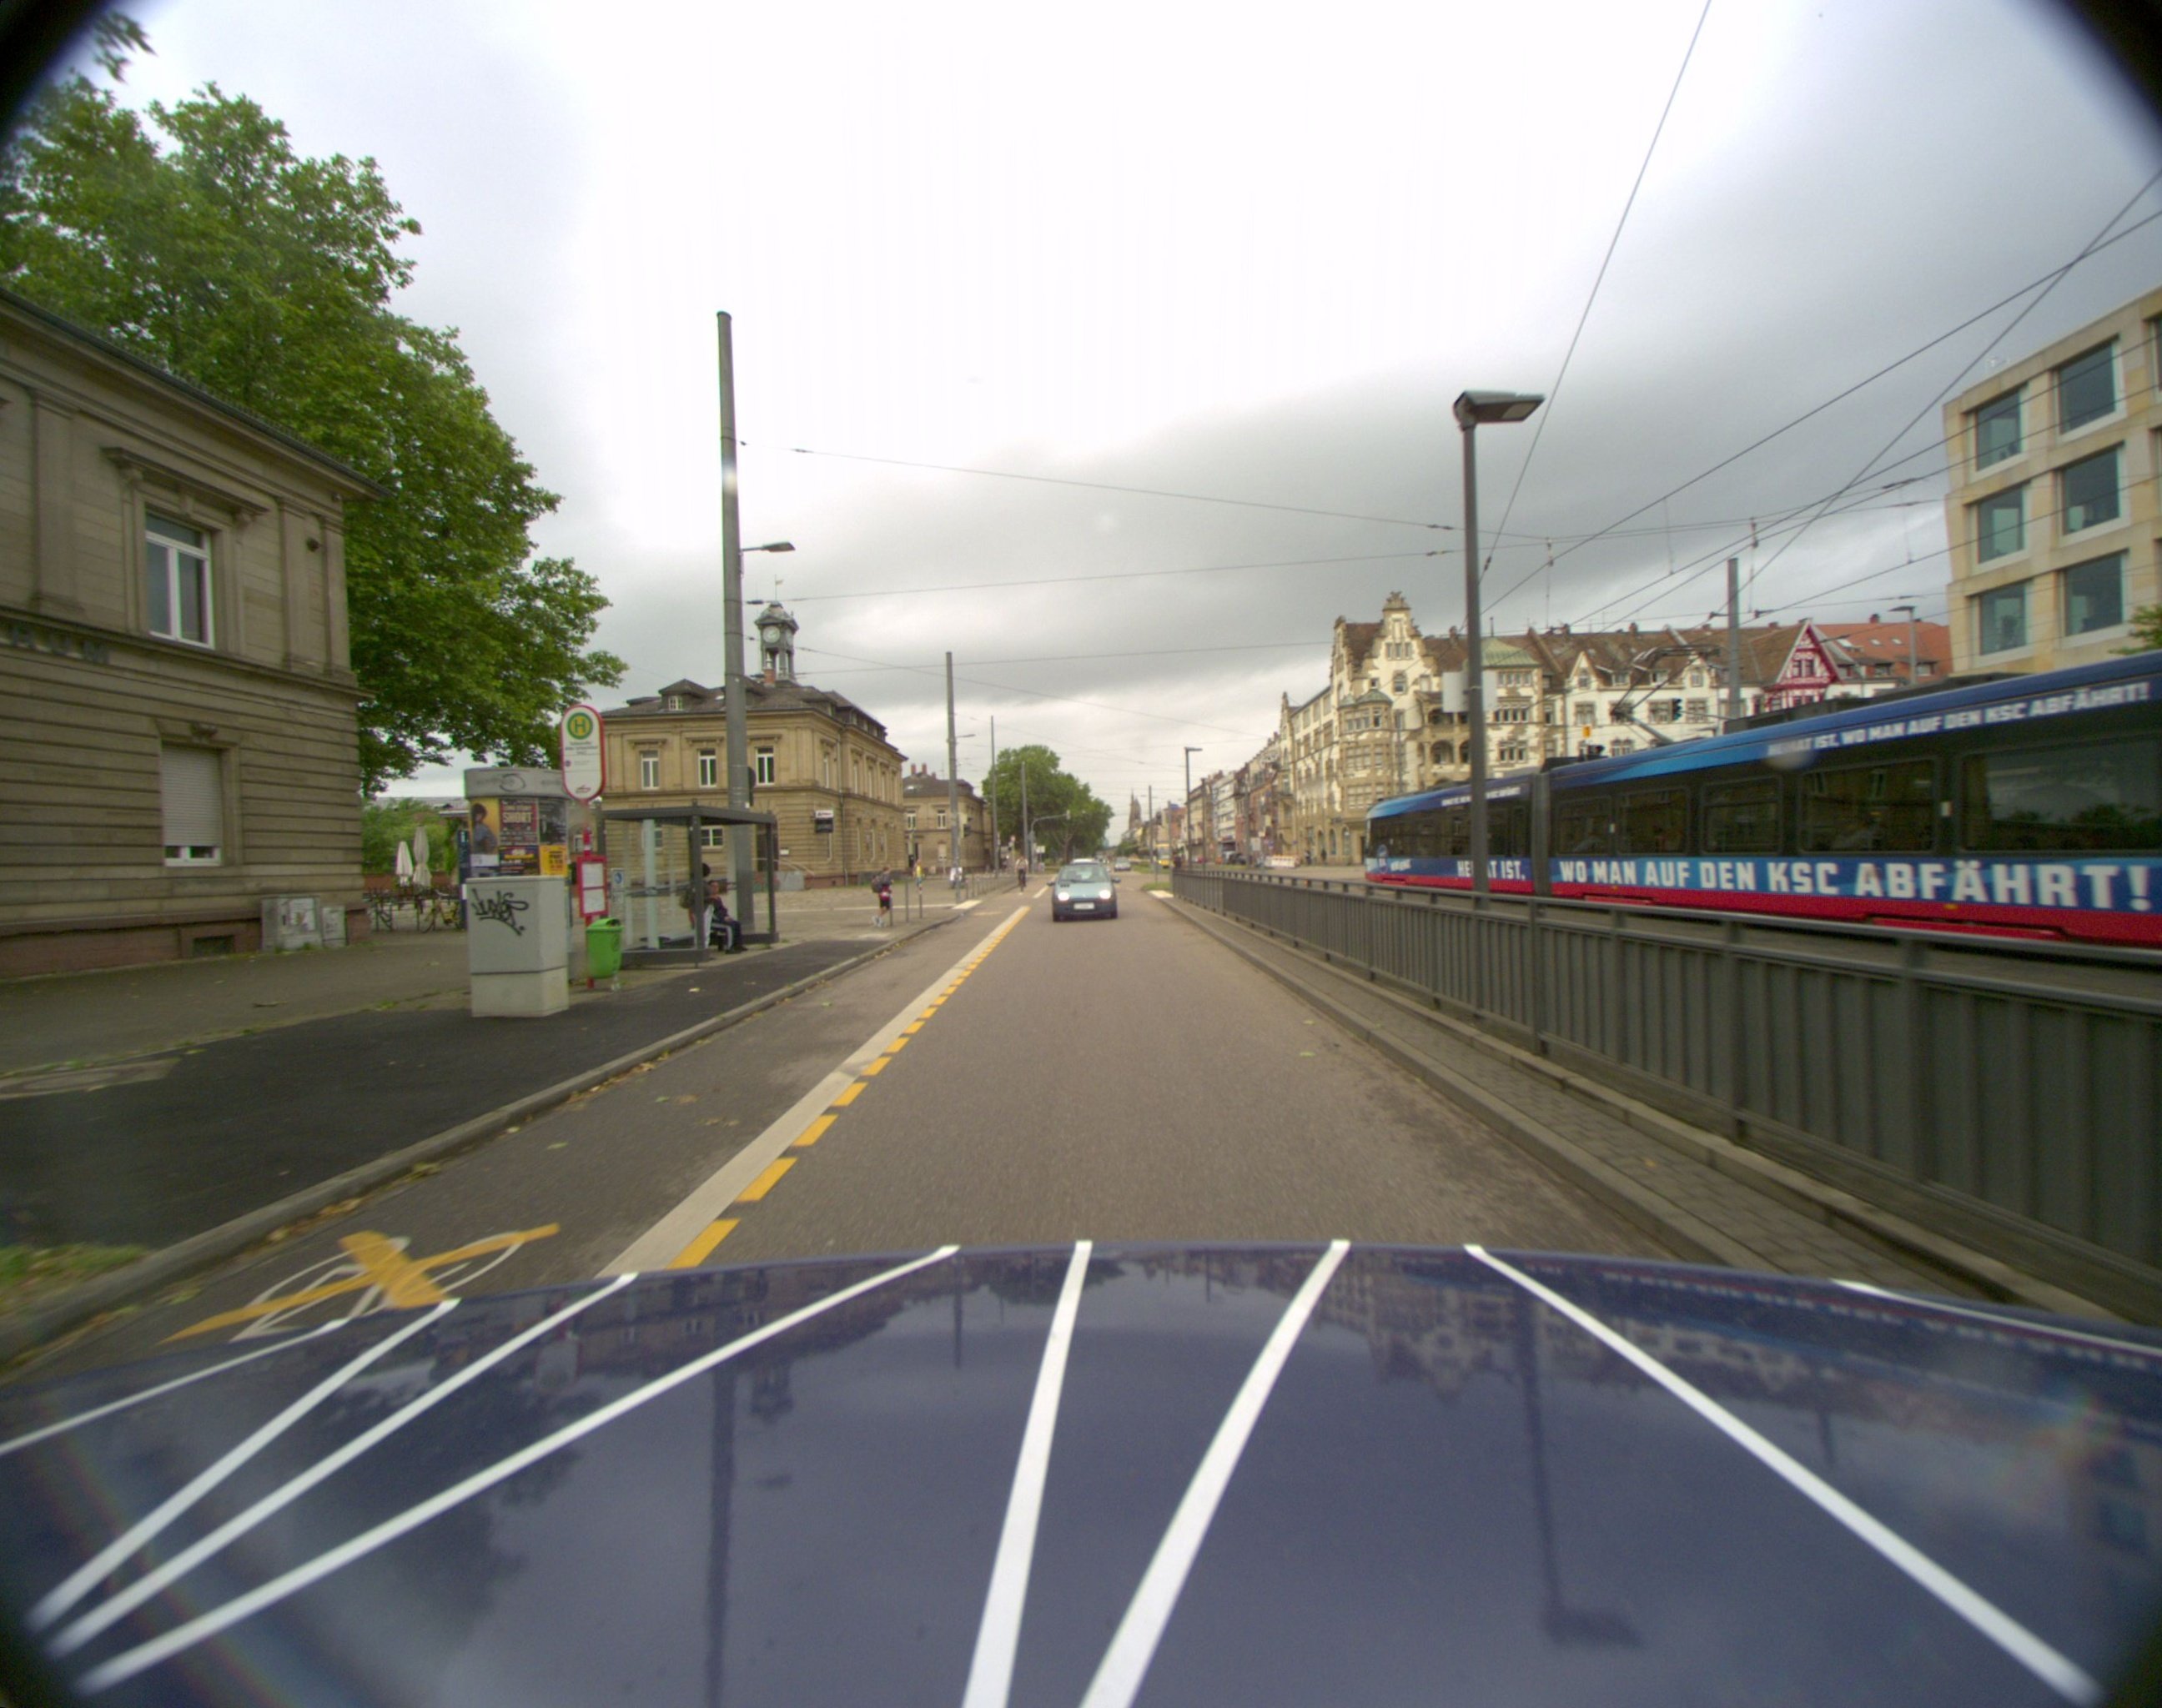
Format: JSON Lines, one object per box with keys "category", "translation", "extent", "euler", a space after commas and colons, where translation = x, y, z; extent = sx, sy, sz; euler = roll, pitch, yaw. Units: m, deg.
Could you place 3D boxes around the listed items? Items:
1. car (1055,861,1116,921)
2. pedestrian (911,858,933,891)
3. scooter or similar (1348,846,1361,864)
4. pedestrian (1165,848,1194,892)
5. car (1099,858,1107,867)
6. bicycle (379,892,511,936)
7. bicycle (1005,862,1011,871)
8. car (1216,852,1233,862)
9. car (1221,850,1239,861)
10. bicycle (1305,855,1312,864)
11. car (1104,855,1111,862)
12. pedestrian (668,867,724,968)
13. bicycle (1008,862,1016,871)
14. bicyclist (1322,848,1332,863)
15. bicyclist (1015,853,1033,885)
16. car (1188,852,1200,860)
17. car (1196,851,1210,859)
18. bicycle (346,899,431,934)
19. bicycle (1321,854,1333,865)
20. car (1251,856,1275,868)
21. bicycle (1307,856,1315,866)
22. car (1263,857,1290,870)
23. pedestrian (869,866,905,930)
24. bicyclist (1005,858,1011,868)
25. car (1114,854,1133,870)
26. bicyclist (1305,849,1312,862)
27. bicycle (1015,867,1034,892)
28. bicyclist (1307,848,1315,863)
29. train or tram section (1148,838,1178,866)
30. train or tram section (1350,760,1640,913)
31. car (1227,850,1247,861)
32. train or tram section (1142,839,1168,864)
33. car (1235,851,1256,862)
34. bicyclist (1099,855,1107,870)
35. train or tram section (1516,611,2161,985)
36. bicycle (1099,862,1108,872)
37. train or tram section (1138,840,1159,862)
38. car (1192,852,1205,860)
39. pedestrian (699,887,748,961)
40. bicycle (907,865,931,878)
{"category": "car", "translation": [0.181, 0.964, 21.068], "extent": [1.534, 1.464, 3.353], "euler": [-1, 1, 3]}
{"category": "pedestrian", "translation": [-8.467, 1.080, 40.495], "extent": [0.720, 1.668, 1.000], "euler": [-1, 1, 11]}
{"category": "scooter or similar", "translation": [26.626, 0.088, 73.934], "extent": [0.565, 1.706, 1.830], "euler": [-2, 1, -1]}
{"category": "pedestrian", "translation": [3.778, 0.616, 29.011], "extent": [0.862, 1.633, 0.651], "euler": [-3, 1, -41]}
{"category": "car", "translation": [5.554, 2.198, 192.996], "extent": [1.999, 2.002, 3.999], "euler": [-2, 1, -1]}
{"category": "bicycle", "translation": [-17.929, 1.657, 21.583], "extent": [0.902, 1.061, 3.407], "euler": [-2, -2, 0]}
{"category": "bicycle", "translation": [-10.076, 1.688, 104.945], "extent": [0.677, 1.158, 2.113], "euler": [-2, 1, -8]}
{"category": "car", "translation": [24.211, 0.535, 128.323], "extent": [1.999, 1.587, 3.999], "euler": [-2, 1, -2]}
{"category": "car", "translation": [23.743, 0.183, 121.249], "extent": [1.999, 1.587, 3.999], "euler": [-2, 1, -2]}
{"category": "bicycle", "translation": [24.865, 0.611, 83.046], "extent": [0.707, 1.030, 2.025], "euler": [-2, -1, 18]}
{"category": "car", "translation": [8.350, 1.518, 239.748], "extent": [1.999, 2.002, 3.999], "euler": [-2, 1, -1]}
{"category": "pedestrian", "translation": [-6.177, 0.996, 12.211], "extent": [0.477, 1.554, 0.702], "euler": [-2, 1, 1]}
{"category": "bicycle", "translation": [-8.126, 1.470, 89.502], "extent": [0.718, 1.062, 1.699], "euler": [-2, 1, -1]}
{"category": "bicyclist", "translation": [24.093, 0.151, 74.514], "extent": [0.750, 1.511, 0.766], "euler": [-2, -1, 7]}
{"category": "bicyclist", "translation": [-2.939, 0.780, 39.154], "extent": [0.812, 1.591, 1.189], "euler": [-2, 1, -2]}
{"category": "car", "translation": [24.477, 0.434, 164.938], "extent": [1.999, 1.587, 3.999], "euler": [-2, 1, -2]}
{"category": "car", "translation": [24.632, 0.211, 152.990], "extent": [1.999, 1.587, 3.999], "euler": [-2, 1, -2]}
{"category": "bicycle", "translation": [-20.534, 1.843, 22.592], "extent": [0.611, 0.867, 2.081], "euler": [-2, 0, -1]}
{"category": "bicycle", "translation": [24.110, 0.591, 74.515], "extent": [0.750, 1.030, 1.917], "euler": [-2, -1, 7]}
{"category": "car", "translation": [22.798, 0.960, 95.362], "extent": [1.999, 1.434, 3.999], "euler": [-2, 1, -2]}
{"category": "bicycle", "translation": [24.358, 0.700, 80.386], "extent": [0.723, 1.030, 1.912], "euler": [-2, -1, 16]}
{"category": "car", "translation": [23.017, 1.078, 89.561], "extent": [1.999, 1.434, 3.999], "euler": [-2, 1, -2]}
{"category": "pedestrian", "translation": [-4.750, 1.066, 18.649], "extent": [0.552, 1.520, 0.639], "euler": [-1, 1, 19]}
{"category": "bicyclist", "translation": [-10.055, 1.283, 104.877], "extent": [0.694, 1.392, 0.816], "euler": [-2, 1, -7]}
{"category": "car", "translation": [4.827, 0.879, 85.867], "extent": [1.869, 1.630, 3.775], "euler": [-2, 1, -1]}
{"category": "bicyclist", "translation": [24.852, 0.165, 83.041], "extent": [0.707, 1.435, 0.974], "euler": [-2, 0, 18]}
{"category": "bicycle", "translation": [-2.916, 1.315, 39.265], "extent": [0.814, 1.163, 2.276], "euler": [-2, 1, -1]}
{"category": "bicyclist", "translation": [24.340, 0.168, 80.373], "extent": [0.723, 1.596, 0.860], "euler": [-2, -1, 16]}
{"category": "train or tram section", "translation": [10.574, -0.293, 99.592], "extent": [2.651, 3.417, 13.618], "euler": [-2, 1, 1]}
{"category": "train or tram section", "translation": [12.112, -0.484, 24.269], "extent": [2.862, 3.619, 11.764], "euler": [-2, 1, 0]}
{"category": "car", "translation": [23.547, 0.256, 114.723], "extent": [1.999, 1.587, 3.999], "euler": [-2, 1, -2]}
{"category": "train or tram section", "translation": [10.897, -0.421, 113.177], "extent": [2.651, 3.417, 13.618], "euler": [-2, 1, 1]}
{"category": "car", "translation": [23.438, 0.399, 108.597], "extent": [1.999, 1.434, 3.999], "euler": [-2, 1, -2]}
{"category": "bicyclist", "translation": [2.415, 0.946, 82.149], "extent": [0.812, 1.586, 0.890], "euler": [-2, -1, -1]}
{"category": "train or tram section", "translation": [11.928, -0.629, 12.503], "extent": [2.862, 3.619, 11.698], "euler": [-2, 1, 0]}
{"category": "bicycle", "translation": [2.437, 1.398, 82.144], "extent": [0.812, 0.939, 2.147], "euler": [-2, -2, -1]}
{"category": "train or tram section", "translation": [11.171, -0.527, 126.804], "extent": [2.651, 3.417, 13.618], "euler": [-2, 1, 1]}
{"category": "car", "translation": [24.622, 0.457, 158.984], "extent": [1.999, 1.587, 3.999], "euler": [-2, 1, -2]}
{"category": "pedestrian", "translation": [-6.286, 1.223, 13.393], "extent": [0.477, 1.227, 0.702], "euler": [-2, 1, 1]}
{"category": "bicycle", "translation": [-13.211, 1.415, 62.074], "extent": [1.859, 1.072, 0.546], "euler": [1, 0, -17]}
